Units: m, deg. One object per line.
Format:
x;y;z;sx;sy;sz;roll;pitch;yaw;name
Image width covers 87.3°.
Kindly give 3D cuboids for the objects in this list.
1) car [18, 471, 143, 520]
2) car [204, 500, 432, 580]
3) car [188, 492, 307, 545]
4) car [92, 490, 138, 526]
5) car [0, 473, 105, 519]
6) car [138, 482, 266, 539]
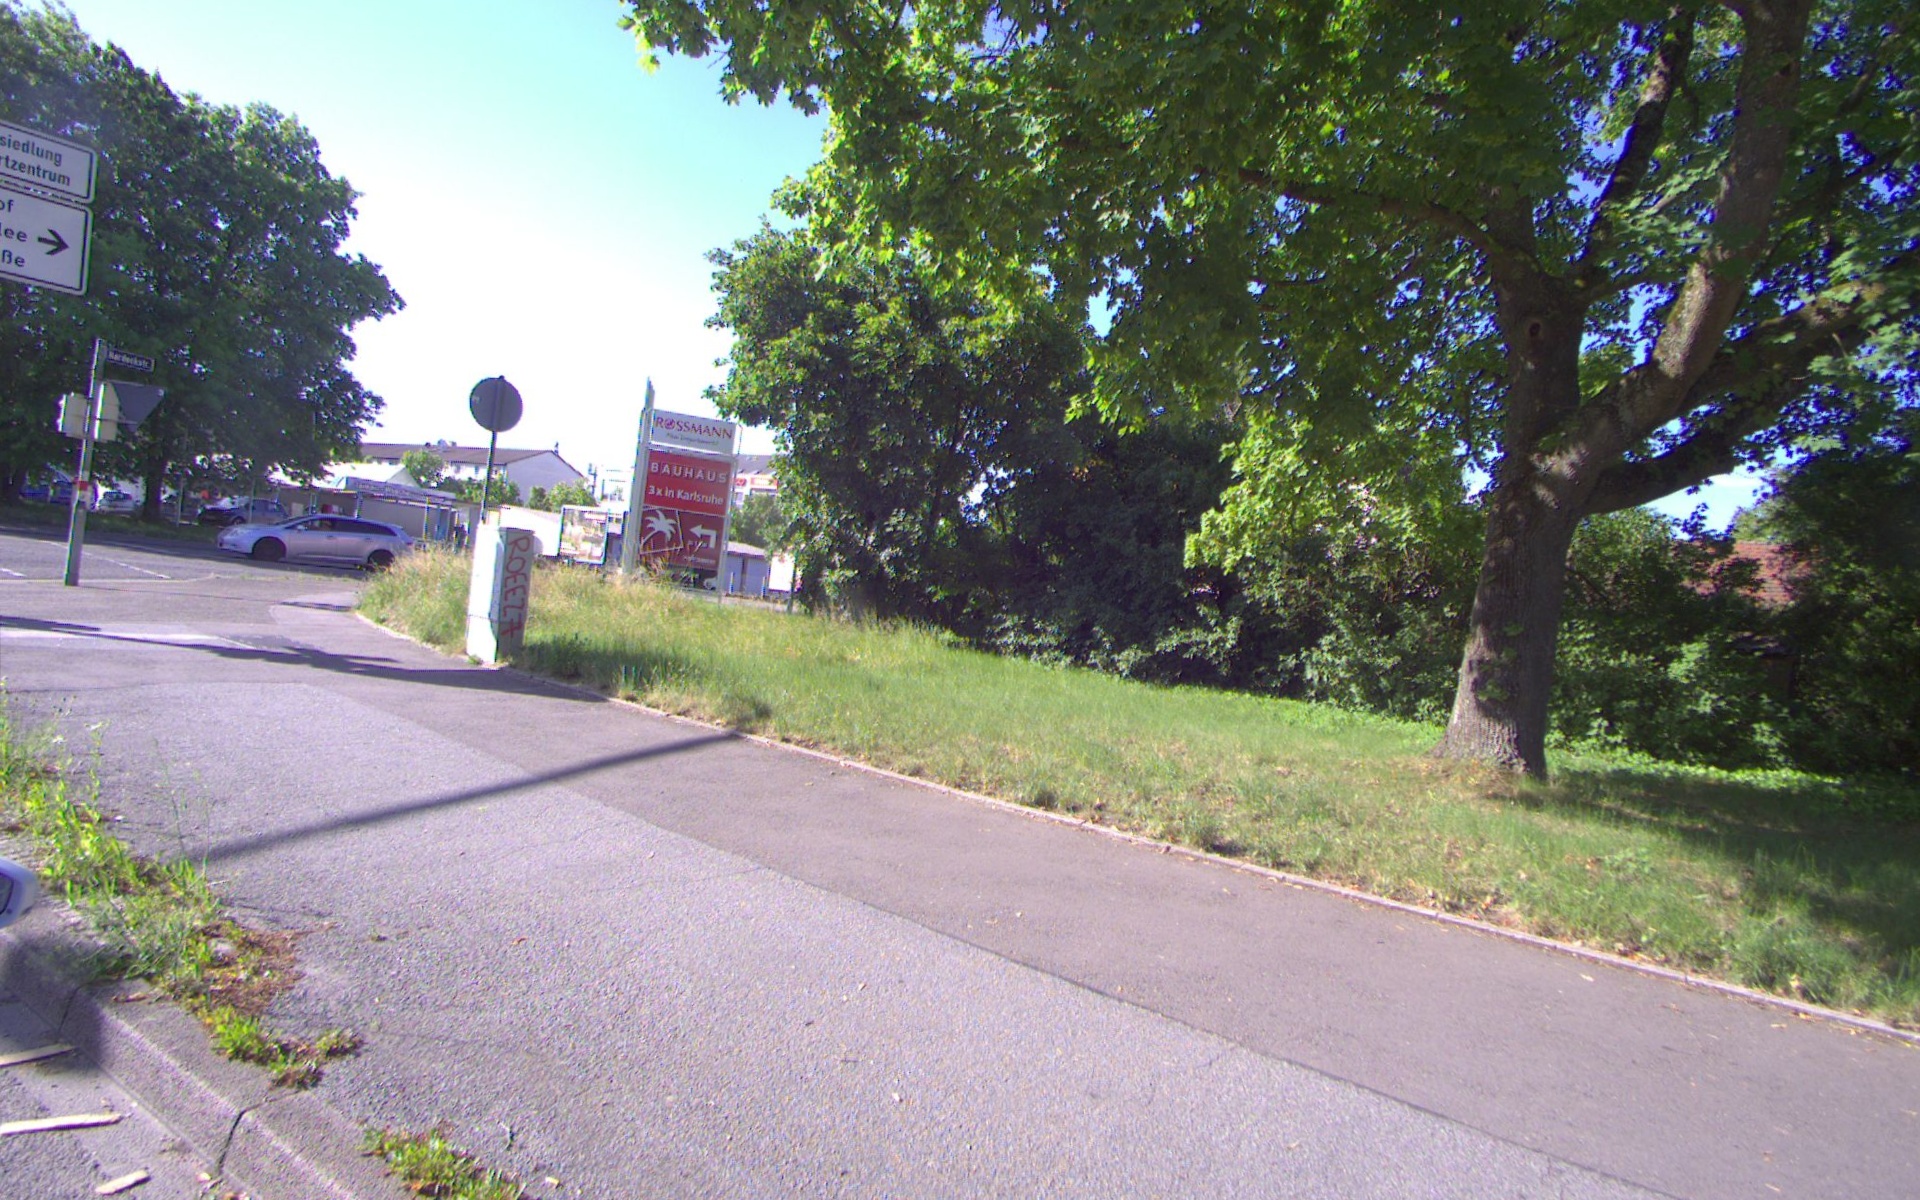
-39.171;-4.622;44.924;1.712;1.537;3.902;7;0;9;car
-17.926;-1.644;28.294;1.973;1.504;4.994;7;0;43;car
-30.288;-3.422;42.910;1.712;1.701;4.001;7;0;9;car
-47.279;-5.143;56.258;1.734;1.701;3.951;6;1;-43;car
-41.982;-4.763;46.149;1.712;1.537;3.902;7;0;9;car
-32.321;-3.761;43.041;1.962;1.771;4.002;7;0;9;car
